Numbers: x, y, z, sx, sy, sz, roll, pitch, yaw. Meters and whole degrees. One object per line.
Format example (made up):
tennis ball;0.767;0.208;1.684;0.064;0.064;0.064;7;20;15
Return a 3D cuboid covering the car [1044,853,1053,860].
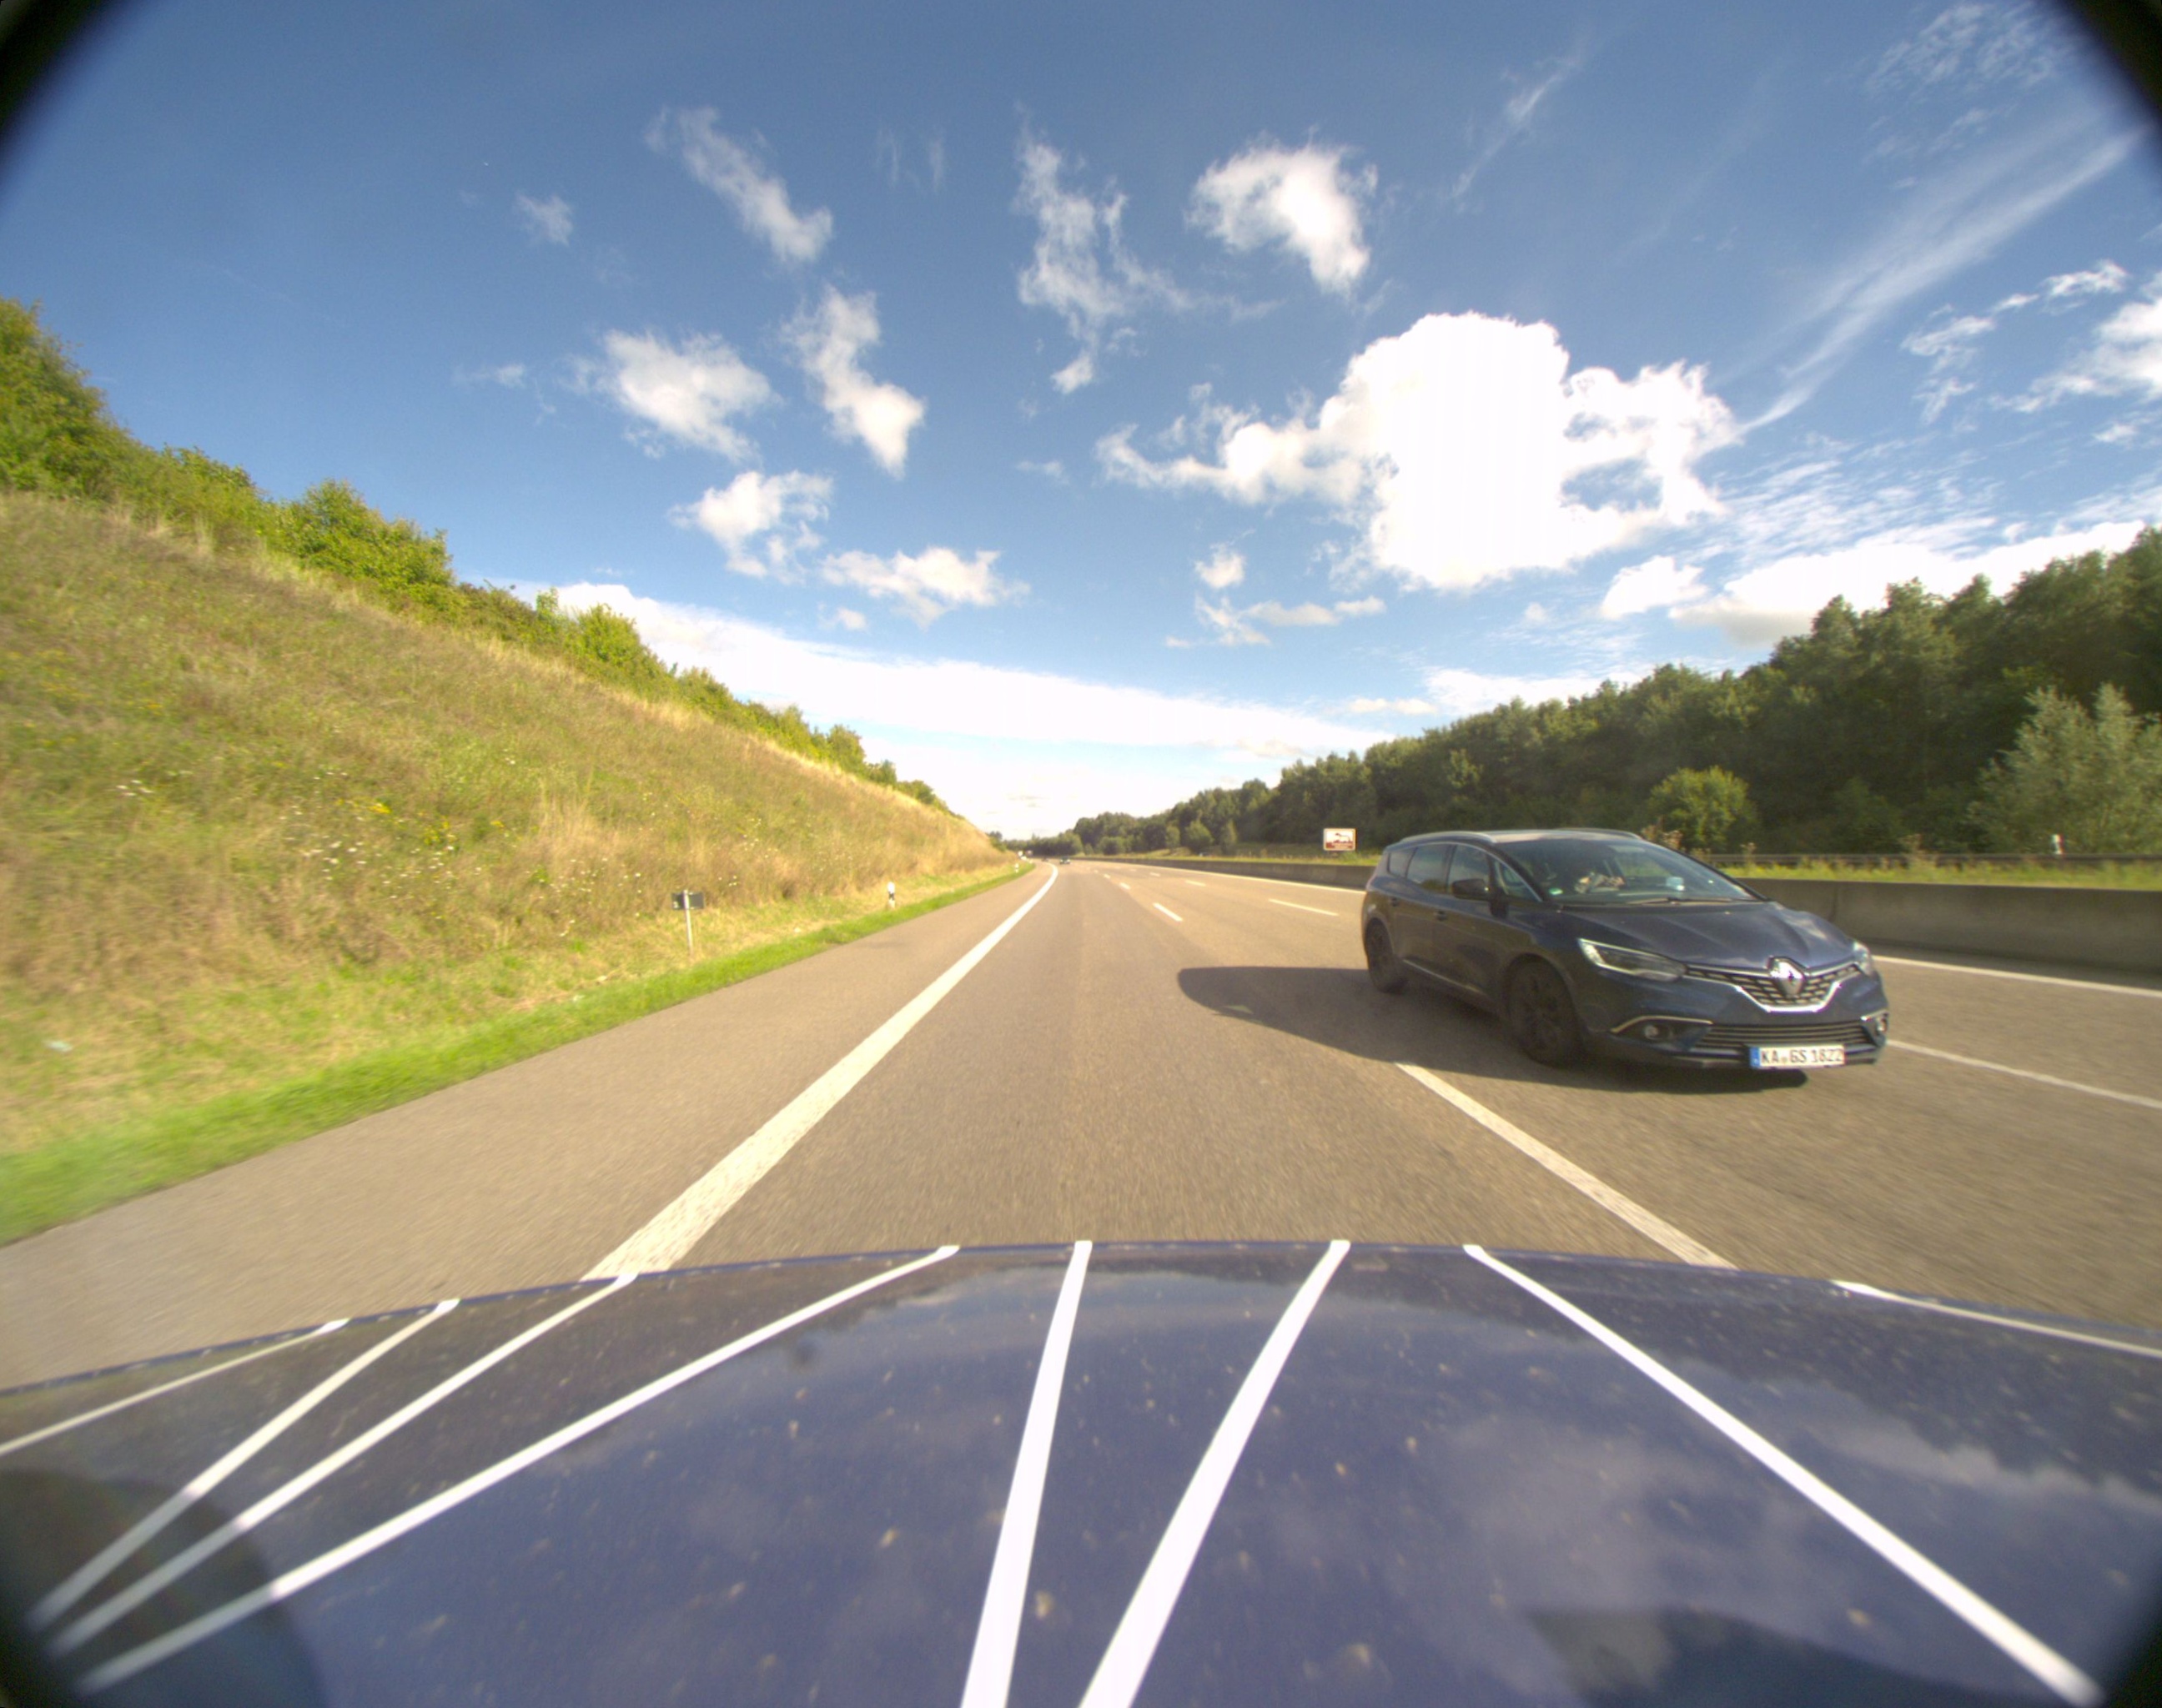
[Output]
car;-9.550;0.659;223.406;2.000;2.002;3.997;-3;1;-8

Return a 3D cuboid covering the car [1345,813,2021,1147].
car;3.987;0.660;6.294;1.998;1.697;4.529;-2;0;1

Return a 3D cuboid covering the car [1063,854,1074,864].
car;-2.409;0.954;145.748;1.999;1.827;3.998;-2;1;-2

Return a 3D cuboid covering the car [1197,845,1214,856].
car;20.211;-0.558;123.894;1.999;1.737;4.049;-2;0;-1
